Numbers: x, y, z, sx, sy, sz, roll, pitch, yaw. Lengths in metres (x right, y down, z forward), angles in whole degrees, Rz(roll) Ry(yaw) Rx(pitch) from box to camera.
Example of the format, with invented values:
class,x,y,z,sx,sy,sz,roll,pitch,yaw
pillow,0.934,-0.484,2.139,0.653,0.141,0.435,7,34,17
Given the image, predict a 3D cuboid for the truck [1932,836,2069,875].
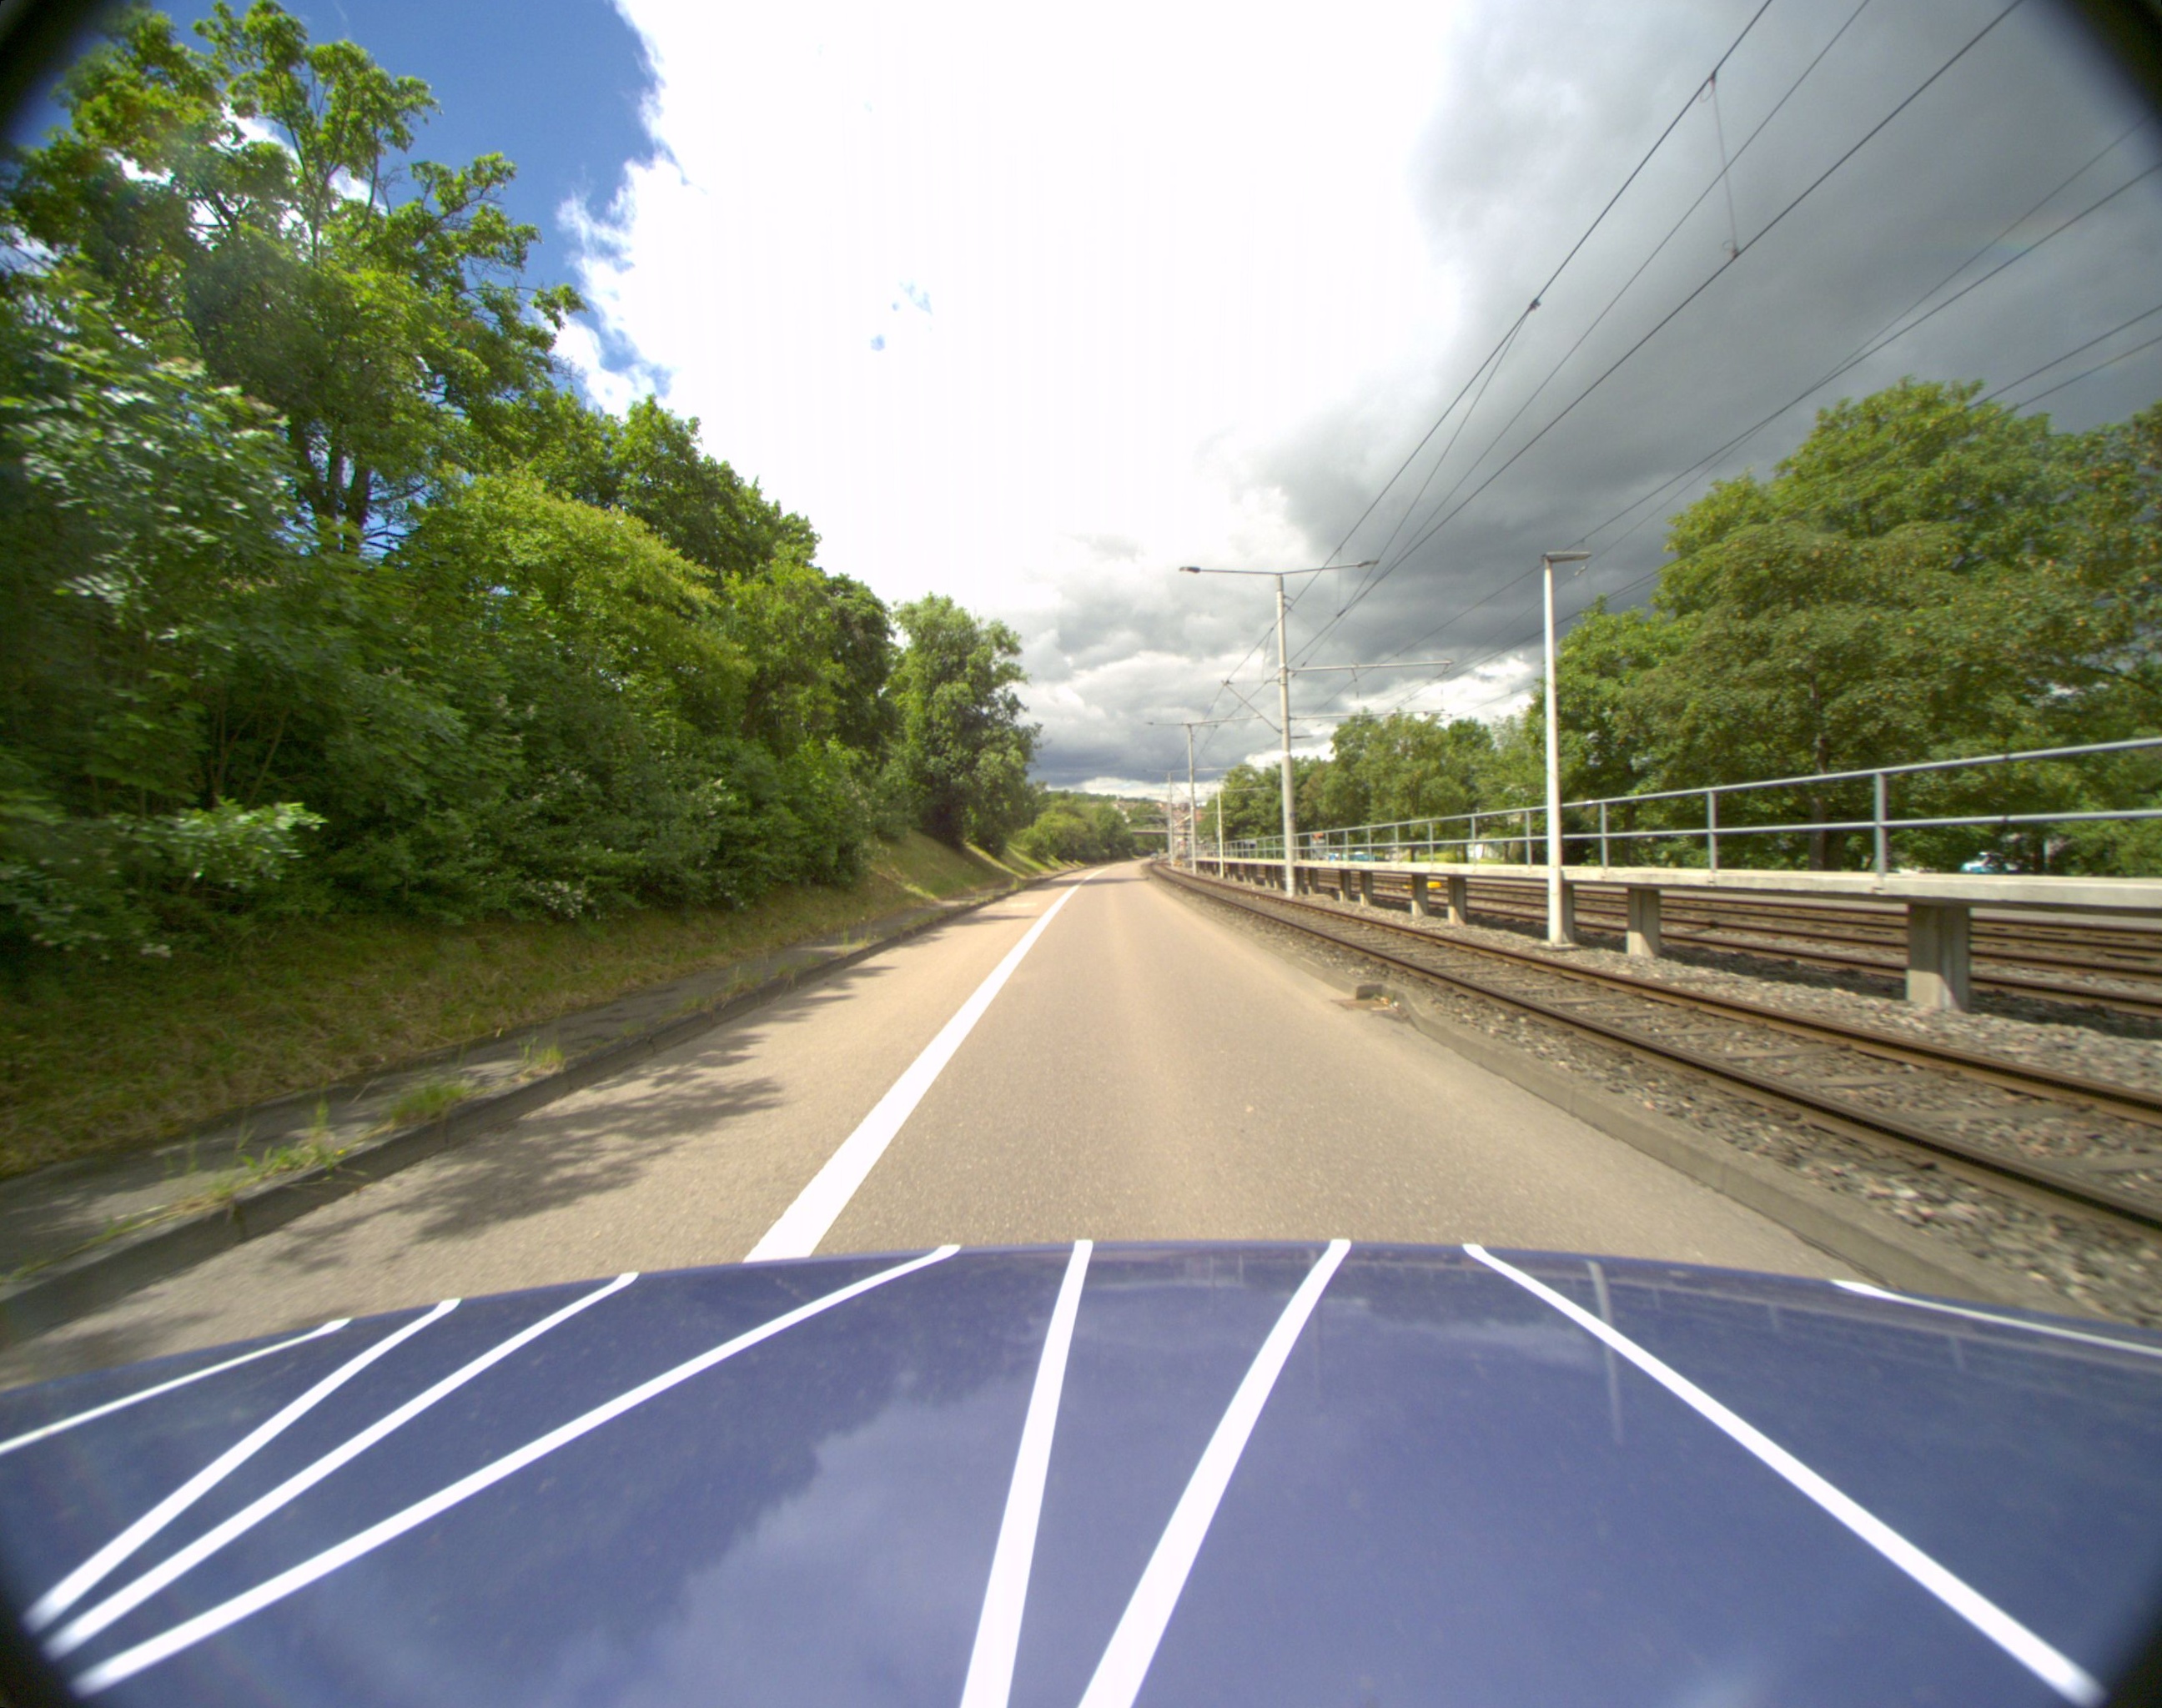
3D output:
class,x,y,z,sx,sy,sz,roll,pitch,yaw
truck,68.906,0.129,57.065,6.616,2.839,2.680,0,0,5
